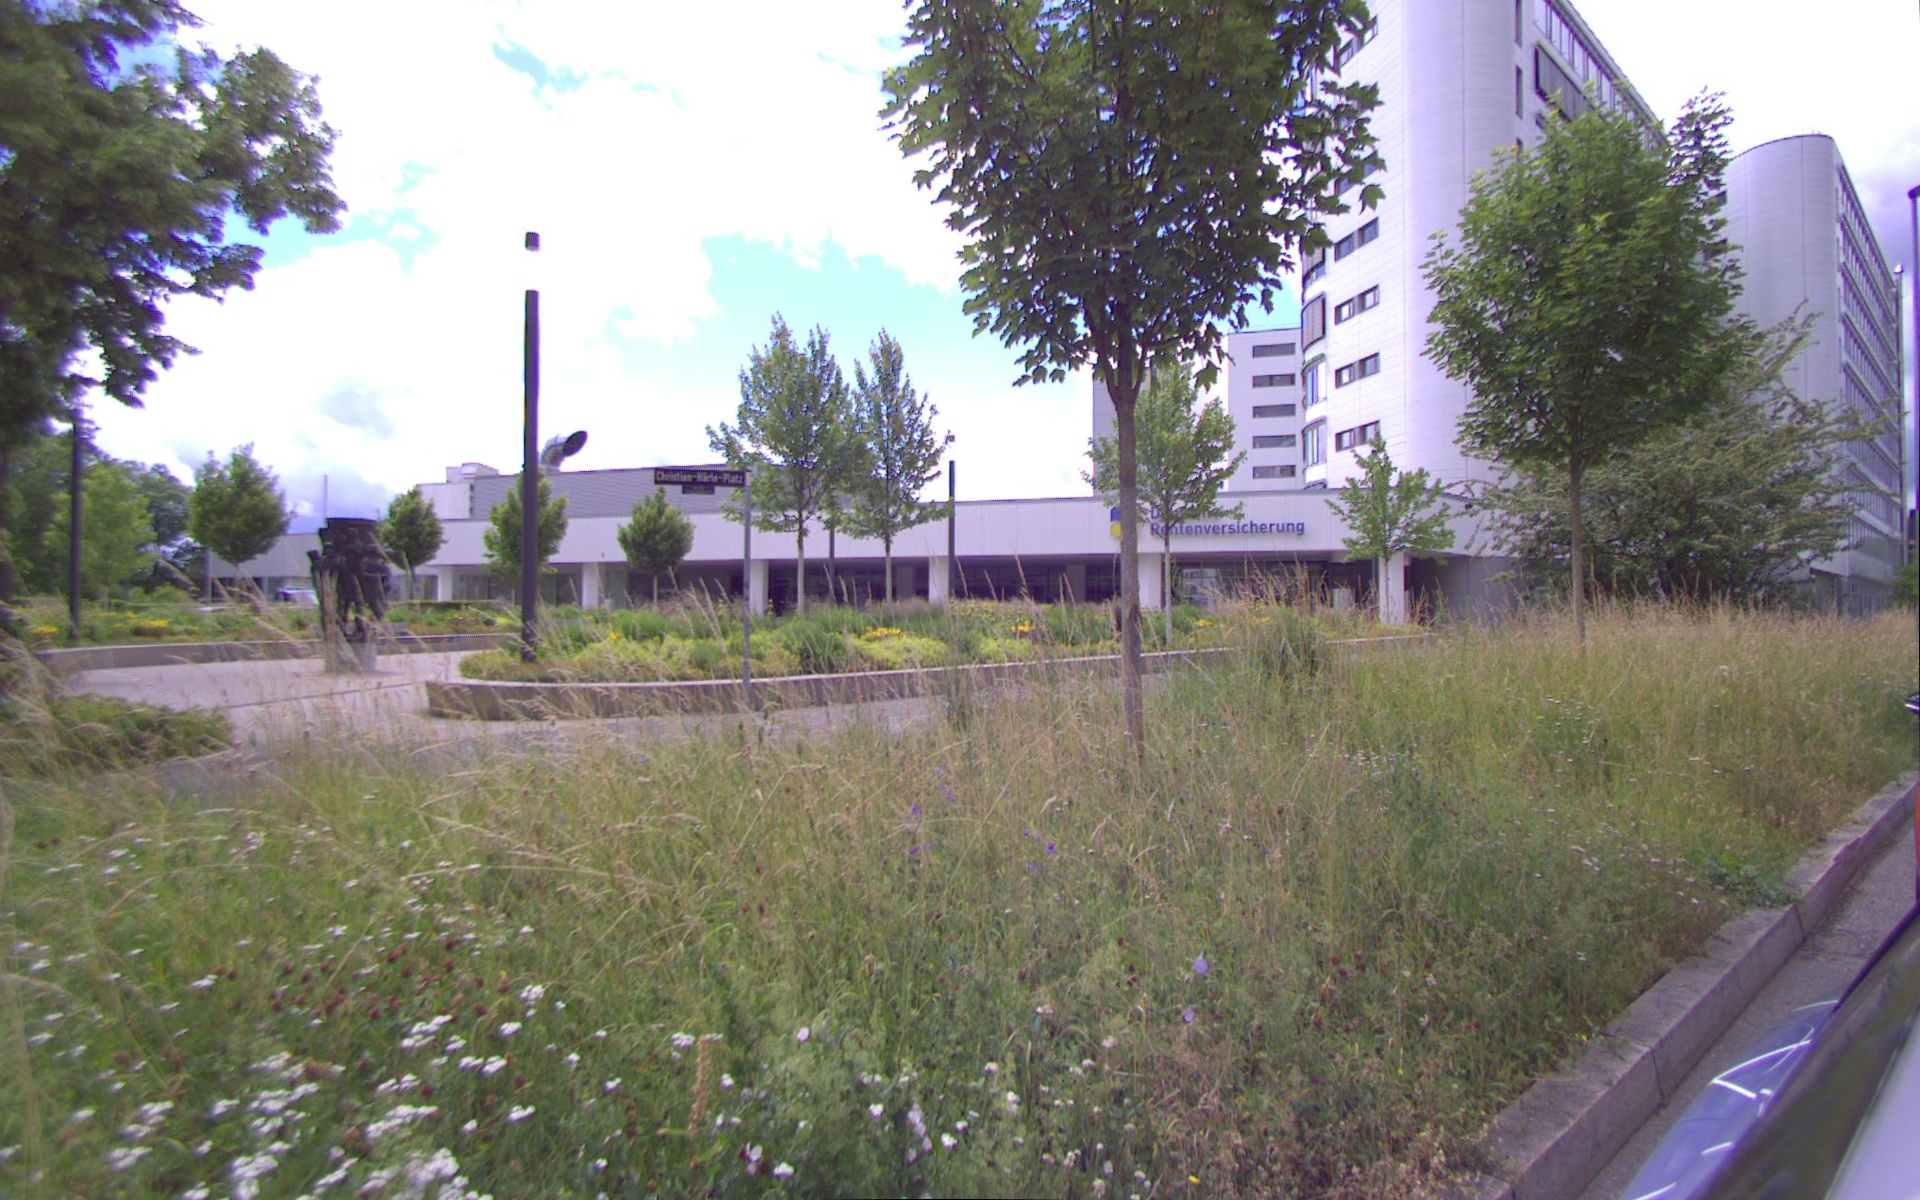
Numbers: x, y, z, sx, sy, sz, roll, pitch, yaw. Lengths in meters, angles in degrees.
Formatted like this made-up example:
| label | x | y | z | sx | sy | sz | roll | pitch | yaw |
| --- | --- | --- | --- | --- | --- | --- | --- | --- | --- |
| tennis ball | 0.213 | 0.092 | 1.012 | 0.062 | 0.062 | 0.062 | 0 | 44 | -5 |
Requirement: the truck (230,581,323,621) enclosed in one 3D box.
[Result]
| label | x | y | z | sx | sy | sz | roll | pitch | yaw |
| --- | --- | --- | --- | --- | --- | --- | --- | --- | --- |
| truck | -36.156 | 0.063 | 53.574 | 3.941 | 2.039 | 1.991 | 1 | 0 | 14 |

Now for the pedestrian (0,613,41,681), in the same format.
| label | x | y | z | sx | sy | sz | roll | pitch | yaw |
| --- | --- | --- | --- | --- | --- | --- | --- | --- | --- |
| pedestrian | -17.489 | 0.860 | 18.734 | 0.621 | 1.238 | 0.620 | 0 | 0 | -36 |

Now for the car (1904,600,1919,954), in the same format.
| label | x | y | z | sx | sy | sz | roll | pitch | yaw |
| --- | --- | --- | --- | --- | --- | --- | --- | --- | --- |
| car | 5.801 | 0.748 | 4.642 | 3.611 | 1.434 | 1.748 | 0 | 1 | -41 |
